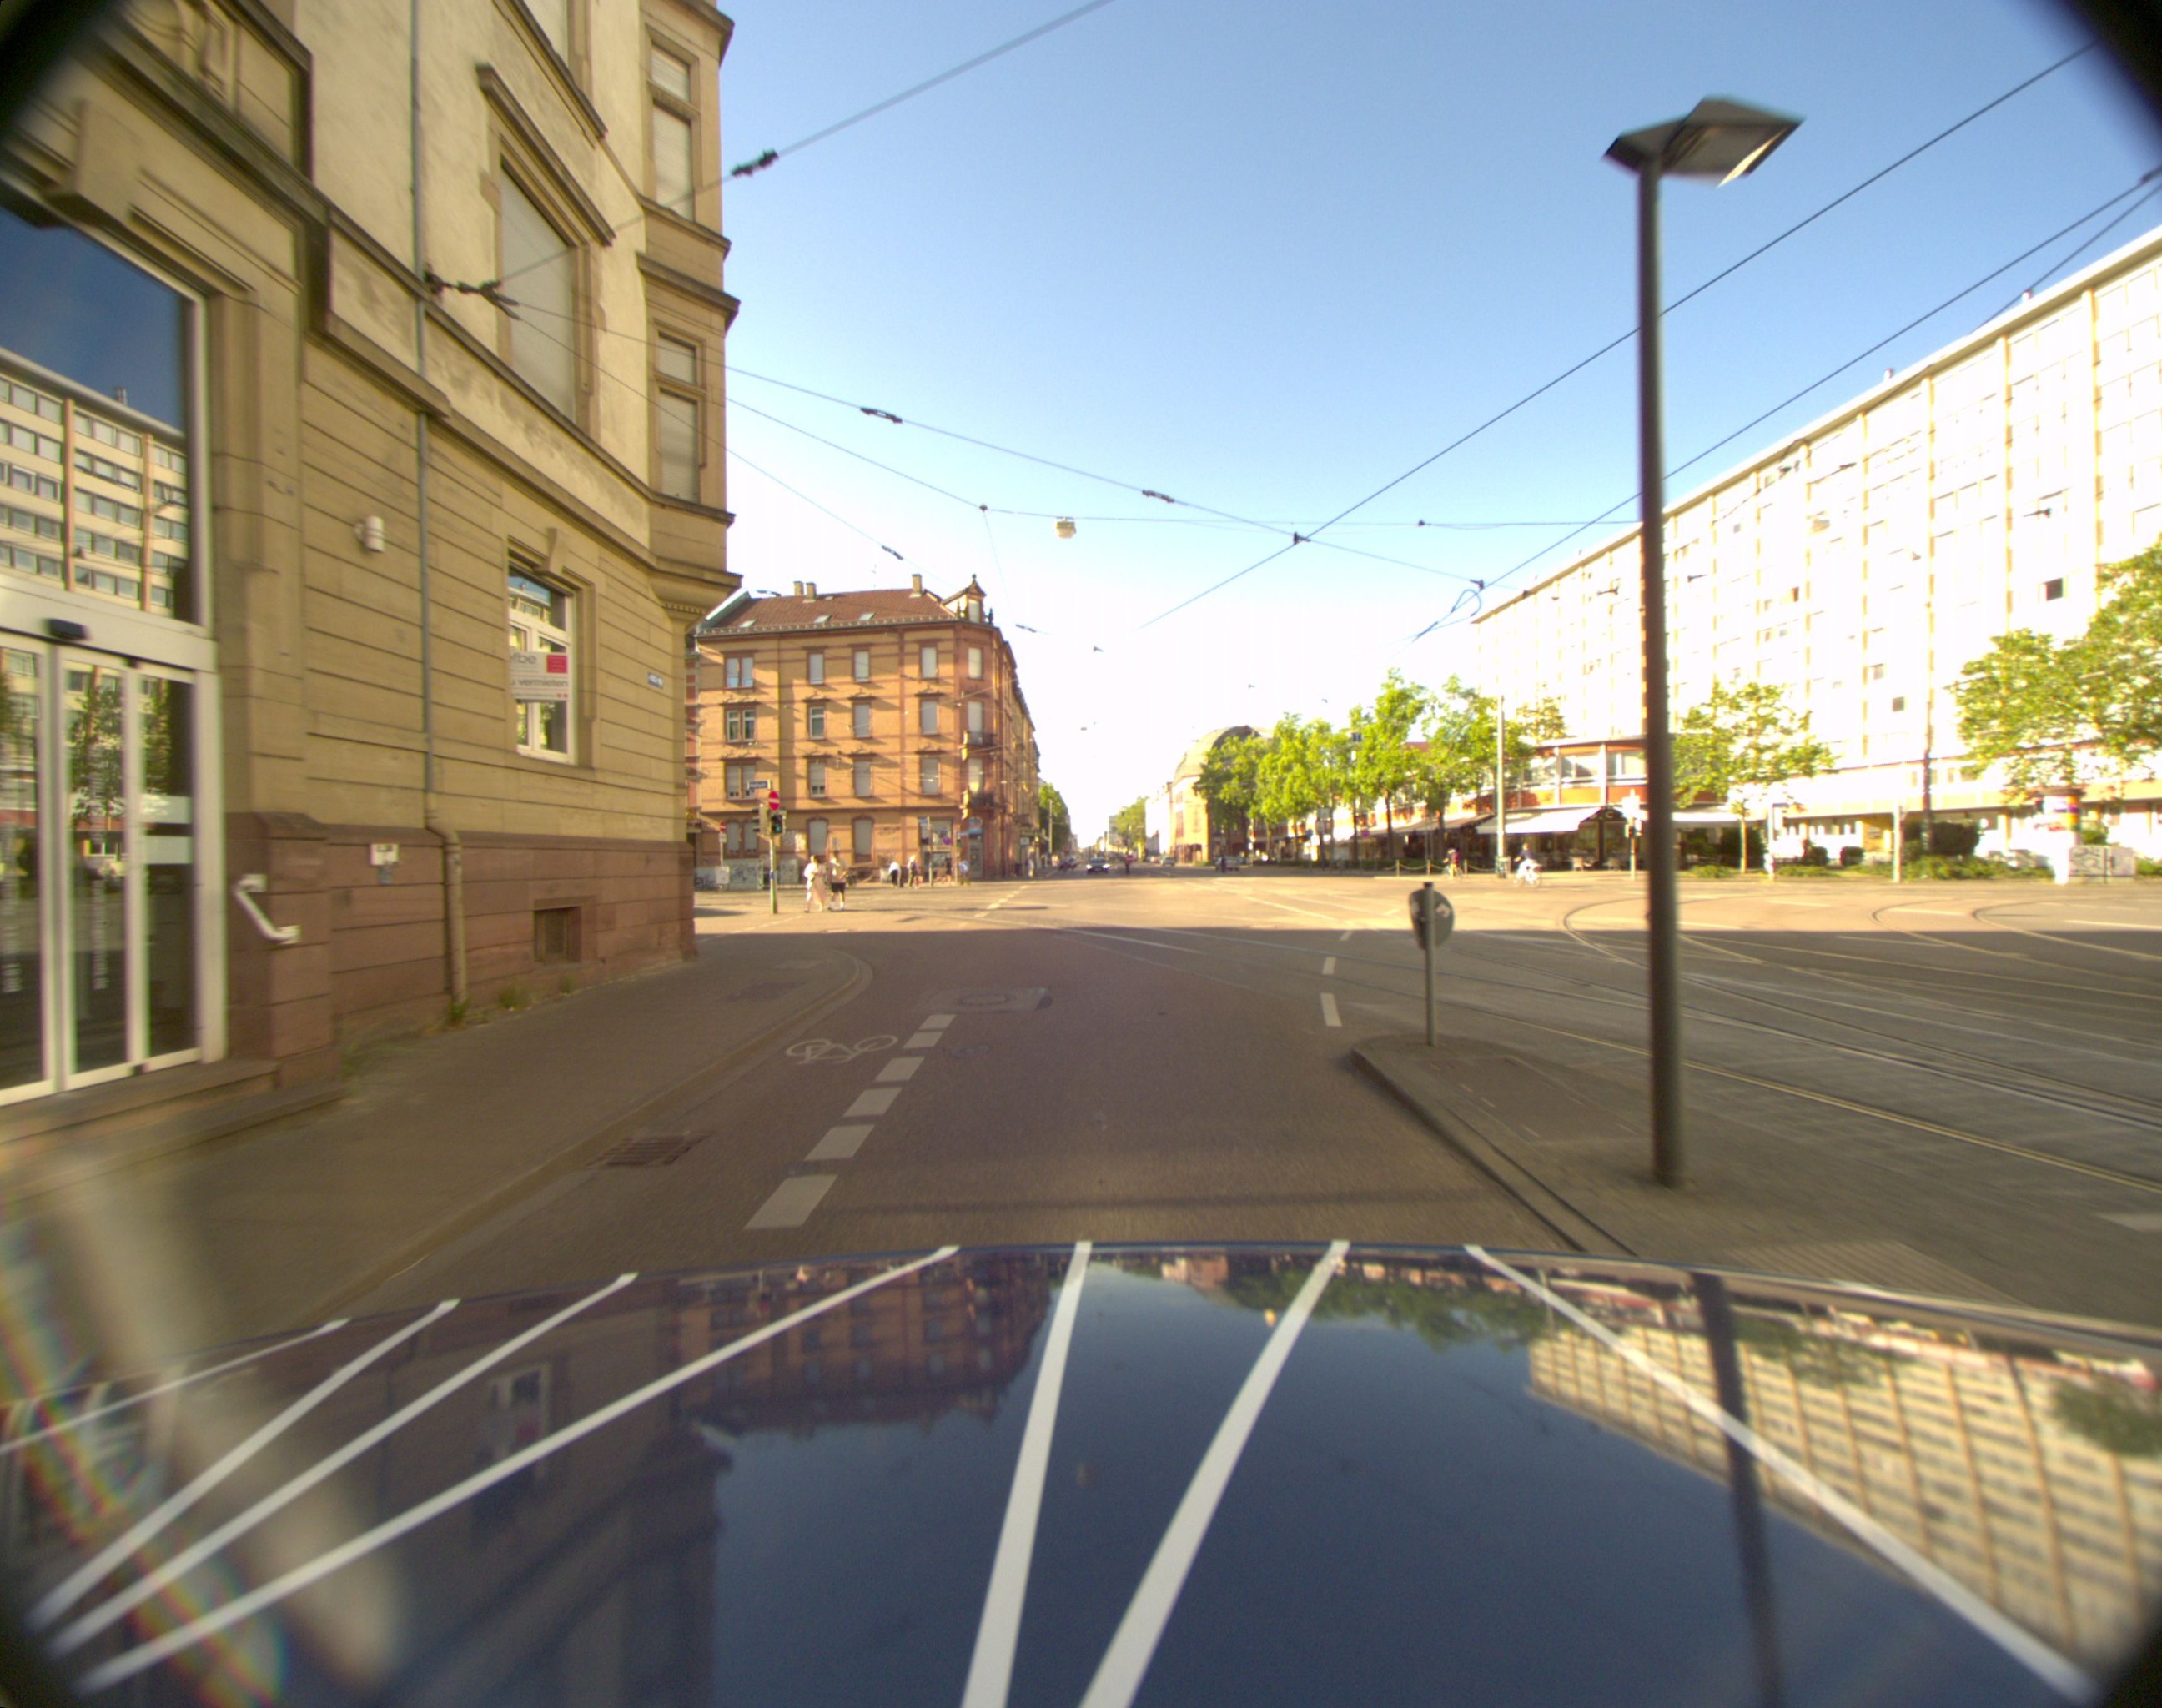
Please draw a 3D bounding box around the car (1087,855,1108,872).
[{"bbox_3d":[1.475,0.863,68.673,1.815,1.415,4.154,-3,0,0],"label":"car"}]

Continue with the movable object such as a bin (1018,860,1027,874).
[{"bbox_3d":[-4.692,1.036,61.168,0.664,1.066,0.591,2,0,3],"label":"movable object such as a bin"}]

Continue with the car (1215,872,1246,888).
[{"bbox_3d":[14.770,2.588,75.256,1.999,1.443,4.650,-1,-1,-1],"label":"car"}]

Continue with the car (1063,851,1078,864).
[{"bbox_3d":[-1.431,0.516,106.030,1.694,1.703,4.616,-3,0,3],"label":"car"}]

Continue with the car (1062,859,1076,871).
[{"bbox_3d":[-1.476,1.372,94.606,1.694,1.442,4.360,-3,0,0],"label":"car"}]

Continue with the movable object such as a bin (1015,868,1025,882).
[{"bbox_3d":[-4.845,1.672,60.605,0.664,1.066,0.545,2,0,3],"label":"movable object such as a bin"}]

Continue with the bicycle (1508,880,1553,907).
[{"bbox_3d":[18.232,1.595,30.833,0.596,0.967,1.853,-1,1,-6],"label":"bicycle"}]

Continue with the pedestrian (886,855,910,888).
[{"bbox_3d":[-9.334,0.875,38.743,0.927,1.622,1.007,-1,1,-31],"label":"pedestrian"}]

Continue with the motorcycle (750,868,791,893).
[{"bbox_3d":[-17.177,1.474,42.048,1.948,1.396,0.864,2,-3,-36],"label":"motorcycle"}]

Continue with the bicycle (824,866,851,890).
[{"bbox_3d":[-13.013,1.262,40.719,0.753,1.202,2.311,-1,-1,-2],"label":"bicycle"}]

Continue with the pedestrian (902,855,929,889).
[{"bbox_3d":[-8.089,0.861,37.188,0.927,1.622,0.939,-2,1,-41],"label":"pedestrian"}]

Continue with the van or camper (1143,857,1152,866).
[{"bbox_3d":[19.814,2.199,225.855,2.041,2.722,7.021,0,0,0],"label":"van or camper"}]

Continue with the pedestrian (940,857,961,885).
[{"bbox_3d":[-7.046,0.911,41.119,0.633,1.529,0.943,0,1,32],"label":"pedestrian"}]

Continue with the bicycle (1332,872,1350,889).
[{"bbox_3d":[18.616,1.870,54.391,0.498,1.179,2.235,-1,0,-1],"label":"bicycle"}]

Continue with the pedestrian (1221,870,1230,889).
[{"bbox_3d":[11.699,2.088,61.586,0.501,1.509,0.859,1,0,1],"label":"pedestrian"}]

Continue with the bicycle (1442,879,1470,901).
[{"bbox_3d":[19.082,1.821,38.710,0.595,0.967,1.818,-1,1,1],"label":"bicycle"}]

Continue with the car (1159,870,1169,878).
[{"bbox_3d":[18.468,4.443,169.124,1.856,1.445,3.853,-2,0,1],"label":"car"}]

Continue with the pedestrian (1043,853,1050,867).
[{"bbox_3d":[-4.607,0.786,100.848,0.686,1.900,1.063,-3,1,3],"label":"pedestrian"}]

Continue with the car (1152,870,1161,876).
[{"bbox_3d":[18.546,4.696,185.704,1.856,1.445,3.853,-2,0,1],"label":"car"}]

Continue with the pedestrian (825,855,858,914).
[{"bbox_3d":[-6.779,0.860,21.514,0.702,1.645,0.632,-1,1,3],"label":"pedestrian"}]

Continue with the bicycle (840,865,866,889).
[{"bbox_3d":[-12.114,1.225,40.451,0.753,1.202,2.312,-1,-1,-2],"label":"bicycle"}]

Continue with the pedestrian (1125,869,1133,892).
[{"bbox_3d":[3.799,2.072,59.791,0.559,1.753,0.895,1,0,1],"label":"pedestrian"}]

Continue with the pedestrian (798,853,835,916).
[{"bbox_3d":[-7.509,0.866,21.589,0.644,1.735,0.706,-2,1,12],"label":"pedestrian"}]

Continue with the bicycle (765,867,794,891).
[{"bbox_3d":[-16.167,1.337,40.791,0.650,1.202,2.312,-1,-1,-2],"label":"bicycle"}]

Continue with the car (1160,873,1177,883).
[{"bbox_3d":[13.622,3.661,118.138,1.999,1.443,4.502,-1,-1,-1],"label":"car"}]

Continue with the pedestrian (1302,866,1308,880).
[{"bbox_3d":[27.428,2.297,93.168,0.574,1.761,0.706,-1,0,2],"label":"pedestrian"}]

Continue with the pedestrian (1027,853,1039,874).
[{"bbox_3d":[-3.686,0.728,57.891,0.684,1.598,0.729,-1,0,-24],"label":"pedestrian"}]

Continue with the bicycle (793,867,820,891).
[{"bbox_3d":[-14.751,1.343,40.913,0.650,1.202,2.312,-1,-1,-2],"label":"bicycle"}]

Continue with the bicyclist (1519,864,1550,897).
[{"bbox_3d":[18.240,1.072,30.567,0.590,1.278,0.991,-1,1,-5],"label":"bicyclist"}]

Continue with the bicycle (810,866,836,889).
[{"bbox_3d":[-13.882,1.267,40.995,0.650,1.202,2.312,-1,-1,-2],"label":"bicycle"}]

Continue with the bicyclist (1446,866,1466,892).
[{"bbox_3d":[19.098,1.285,38.740,0.590,1.278,0.927,-1,1,1],"label":"bicyclist"}]

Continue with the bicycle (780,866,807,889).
[{"bbox_3d":[-15.441,1.260,40.845,0.650,1.202,2.312,-1,-1,-2],"label":"bicycle"}]
